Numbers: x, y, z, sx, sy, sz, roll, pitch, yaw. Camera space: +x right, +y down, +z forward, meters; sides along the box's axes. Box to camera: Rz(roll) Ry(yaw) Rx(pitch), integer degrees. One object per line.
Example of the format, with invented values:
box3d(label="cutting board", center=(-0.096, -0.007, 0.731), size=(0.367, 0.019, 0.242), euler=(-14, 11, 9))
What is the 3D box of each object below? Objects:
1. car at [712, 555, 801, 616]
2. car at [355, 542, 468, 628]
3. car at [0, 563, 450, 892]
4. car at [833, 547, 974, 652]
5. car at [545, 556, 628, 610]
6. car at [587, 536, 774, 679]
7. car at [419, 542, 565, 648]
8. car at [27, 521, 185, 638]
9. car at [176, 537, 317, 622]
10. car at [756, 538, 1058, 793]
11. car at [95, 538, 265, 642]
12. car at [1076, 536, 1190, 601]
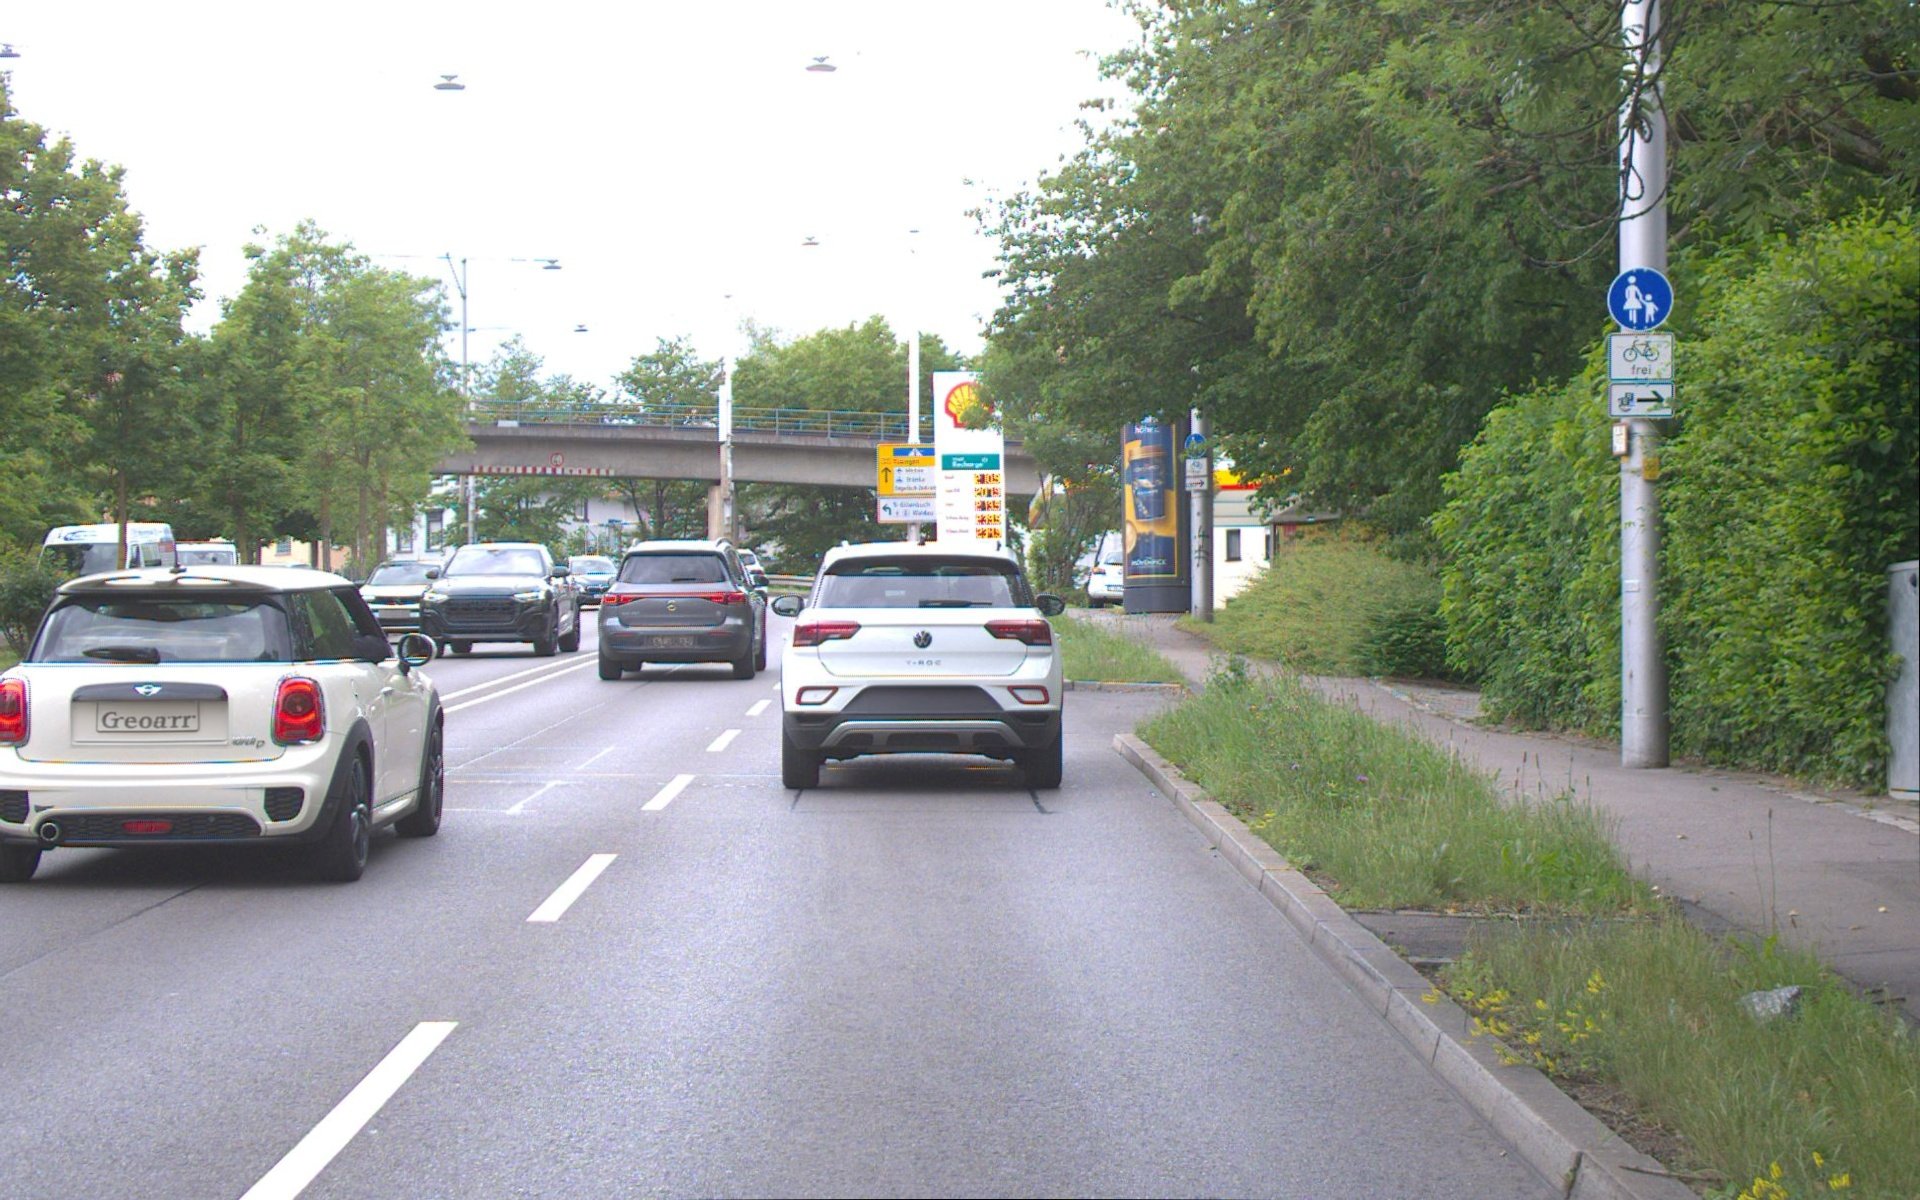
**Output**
box3d(label="car", center=(-5.686, -0.425, 95.749), size=(1.857, 1.646, 4.637), euler=(0, 1, -11))
box3d(label="car", center=(-10.121, -0.299, 63.647), size=(1.895, 1.536, 4.694), euler=(0, 1, -7))
box3d(label="car", center=(-3.523, 0.529, 16.535), size=(1.628, 1.388, 3.566), euler=(0, 1, 0))
box3d(label="car", center=(-0.940, 0.002, 54.409), size=(1.873, 1.496, 4.555), euler=(3, 0, -4))
box3d(label="car", center=(-11.131, -0.520, 102.295), size=(1.895, 1.536, 4.694), euler=(0, 1, -13))
box3d(label="car", center=(-3.357, 0.052, 42.085), size=(1.813, 1.646, 4.636), euler=(0, 1, 1))
box3d(label="car", center=(-7.068, -0.100, 52.264), size=(1.895, 1.536, 4.693), euler=(0, 1, -4))
box3d(label="car", center=(-17.440, -0.447, 70.448), size=(2.068, 2.298, 5.466), euler=(0, 1, -2))
box3d(label="car", center=(-13.810, -0.411, 66.805), size=(2.068, 1.574, 4.693), euler=(0, 1, -4))
box3d(label="car", center=(-0.314, 0.368, 22.609), size=(1.811, 1.534, 3.690), euler=(0, 1, 0))
box3d(label="car", center=(-12.971, -0.192, 57.438), size=(2.068, 1.651, 4.693), euler=(0, 1, -4))
box3d(label="car", center=(4.141, -0.759, 81.559), size=(1.859, 1.495, 4.053), euler=(0, 1, 16))
